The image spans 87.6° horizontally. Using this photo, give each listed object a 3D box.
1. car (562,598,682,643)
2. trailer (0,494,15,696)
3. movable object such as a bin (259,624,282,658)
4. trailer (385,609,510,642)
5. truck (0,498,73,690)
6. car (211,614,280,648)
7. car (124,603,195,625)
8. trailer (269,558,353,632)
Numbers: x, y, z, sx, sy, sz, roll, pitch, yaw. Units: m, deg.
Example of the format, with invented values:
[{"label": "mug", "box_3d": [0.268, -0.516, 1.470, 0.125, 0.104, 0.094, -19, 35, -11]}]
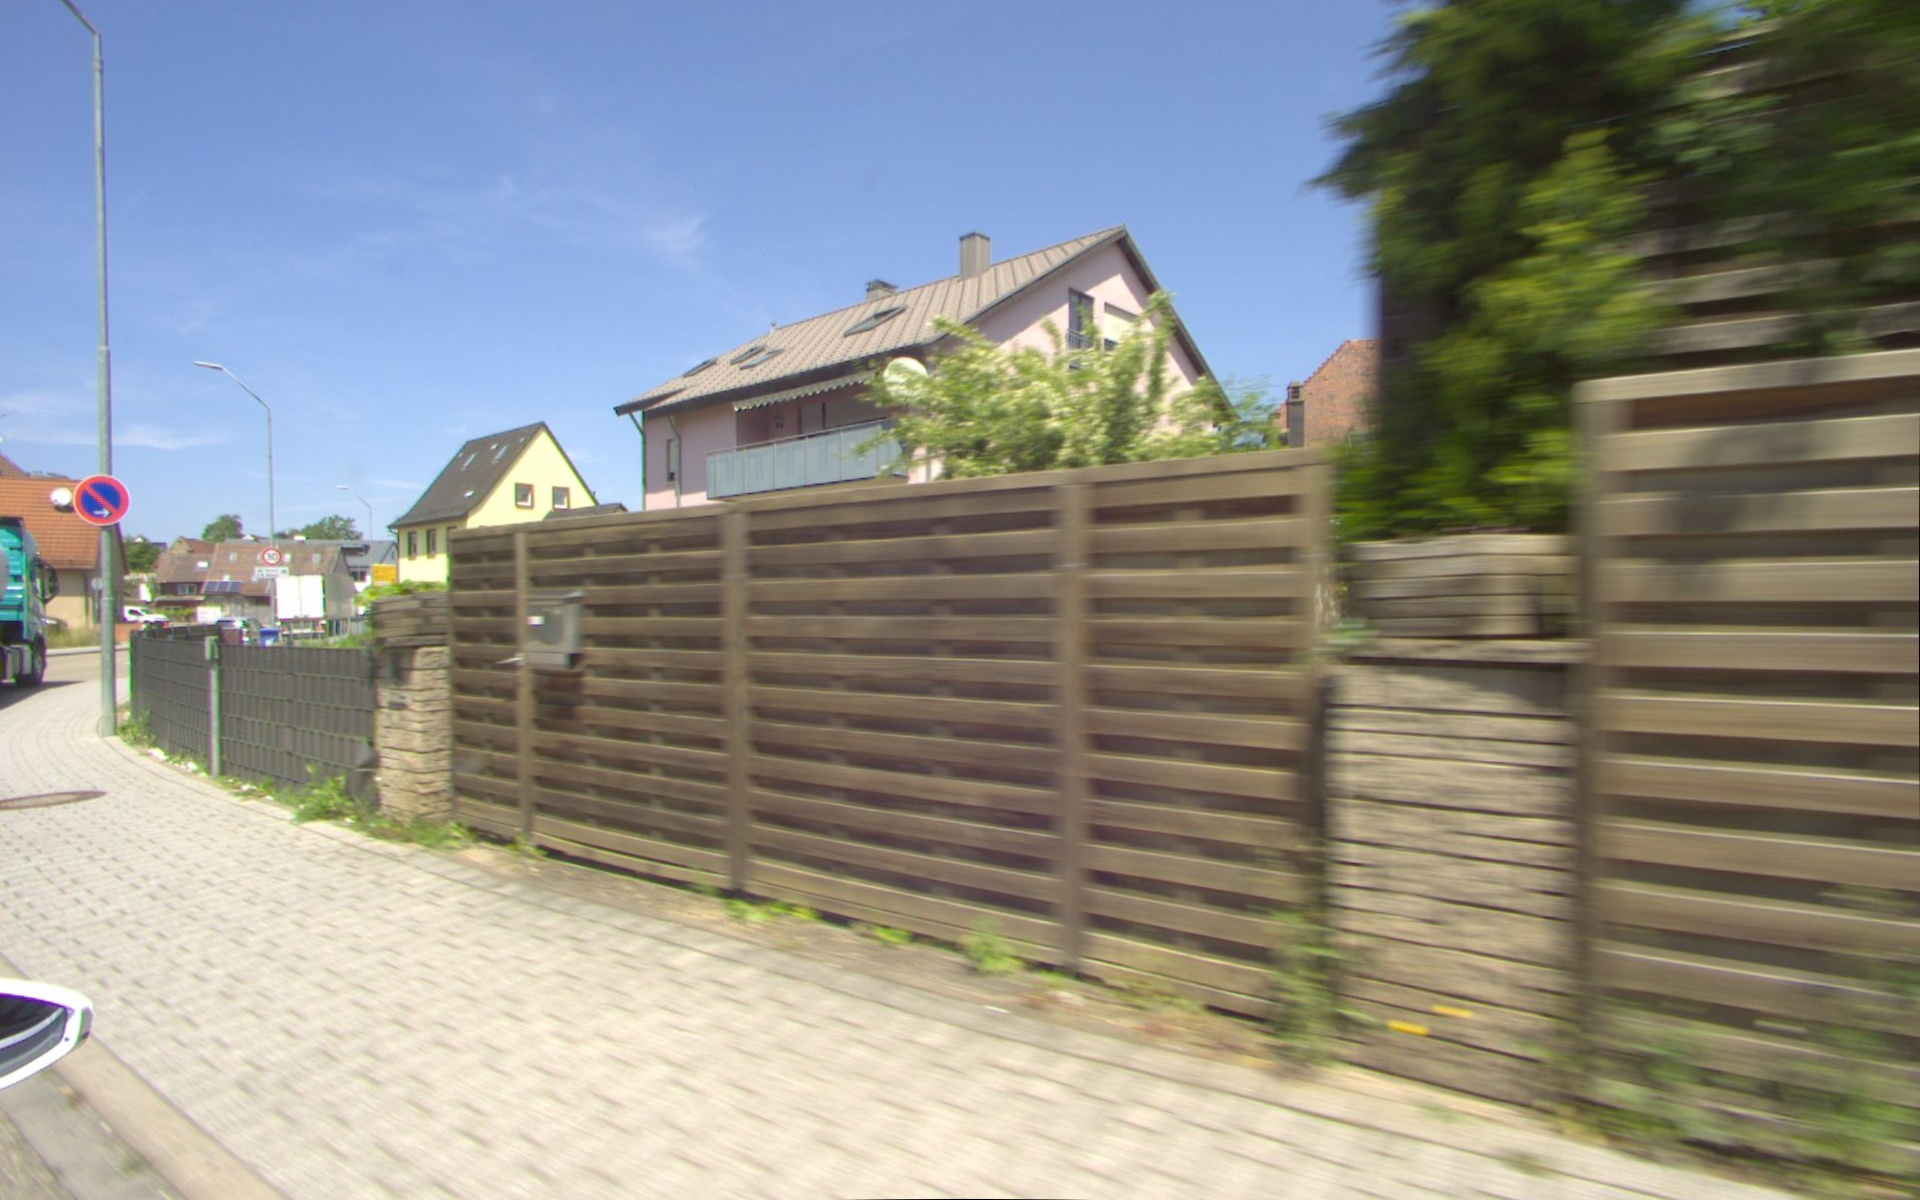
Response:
[{"label": "car", "box_3d": [-12.441, 0.711, 37.006, 1.742, 1.506, 3.804, -1, 1, 42]}, {"label": "trailer", "box_3d": [-18.063, -0.163, 16.282, 2.928, 3.999, 11.526, 0, -1, -39]}, {"label": "movable object such as a bin", "box_3d": [-22.310, 1.318, 32.393, 0.560, 1.071, 0.645, -1, 0, -40]}, {"label": "trailer", "box_3d": [-26.039, 1.287, 51.102, 2.111, 1.566, 5.330, 0, -1, 36]}, {"label": "truck", "box_3d": [-22.655, -0.144, 22.641, 2.957, 4.017, 5.545, 1, -1, -32]}, {"label": "car", "box_3d": [-33.037, 1.410, 46.414, 1.819, 1.505, 3.986, 0, -1, -24]}, {"label": "car", "box_3d": [-67.794, 1.160, 84.844, 4.434, 1.809, 1.879, 1, 1, -3]}, {"label": "trailer", "box_3d": [-42.323, -0.109, 65.716, 3.094, 4.331, 12.447, 1, -2, -26]}]
